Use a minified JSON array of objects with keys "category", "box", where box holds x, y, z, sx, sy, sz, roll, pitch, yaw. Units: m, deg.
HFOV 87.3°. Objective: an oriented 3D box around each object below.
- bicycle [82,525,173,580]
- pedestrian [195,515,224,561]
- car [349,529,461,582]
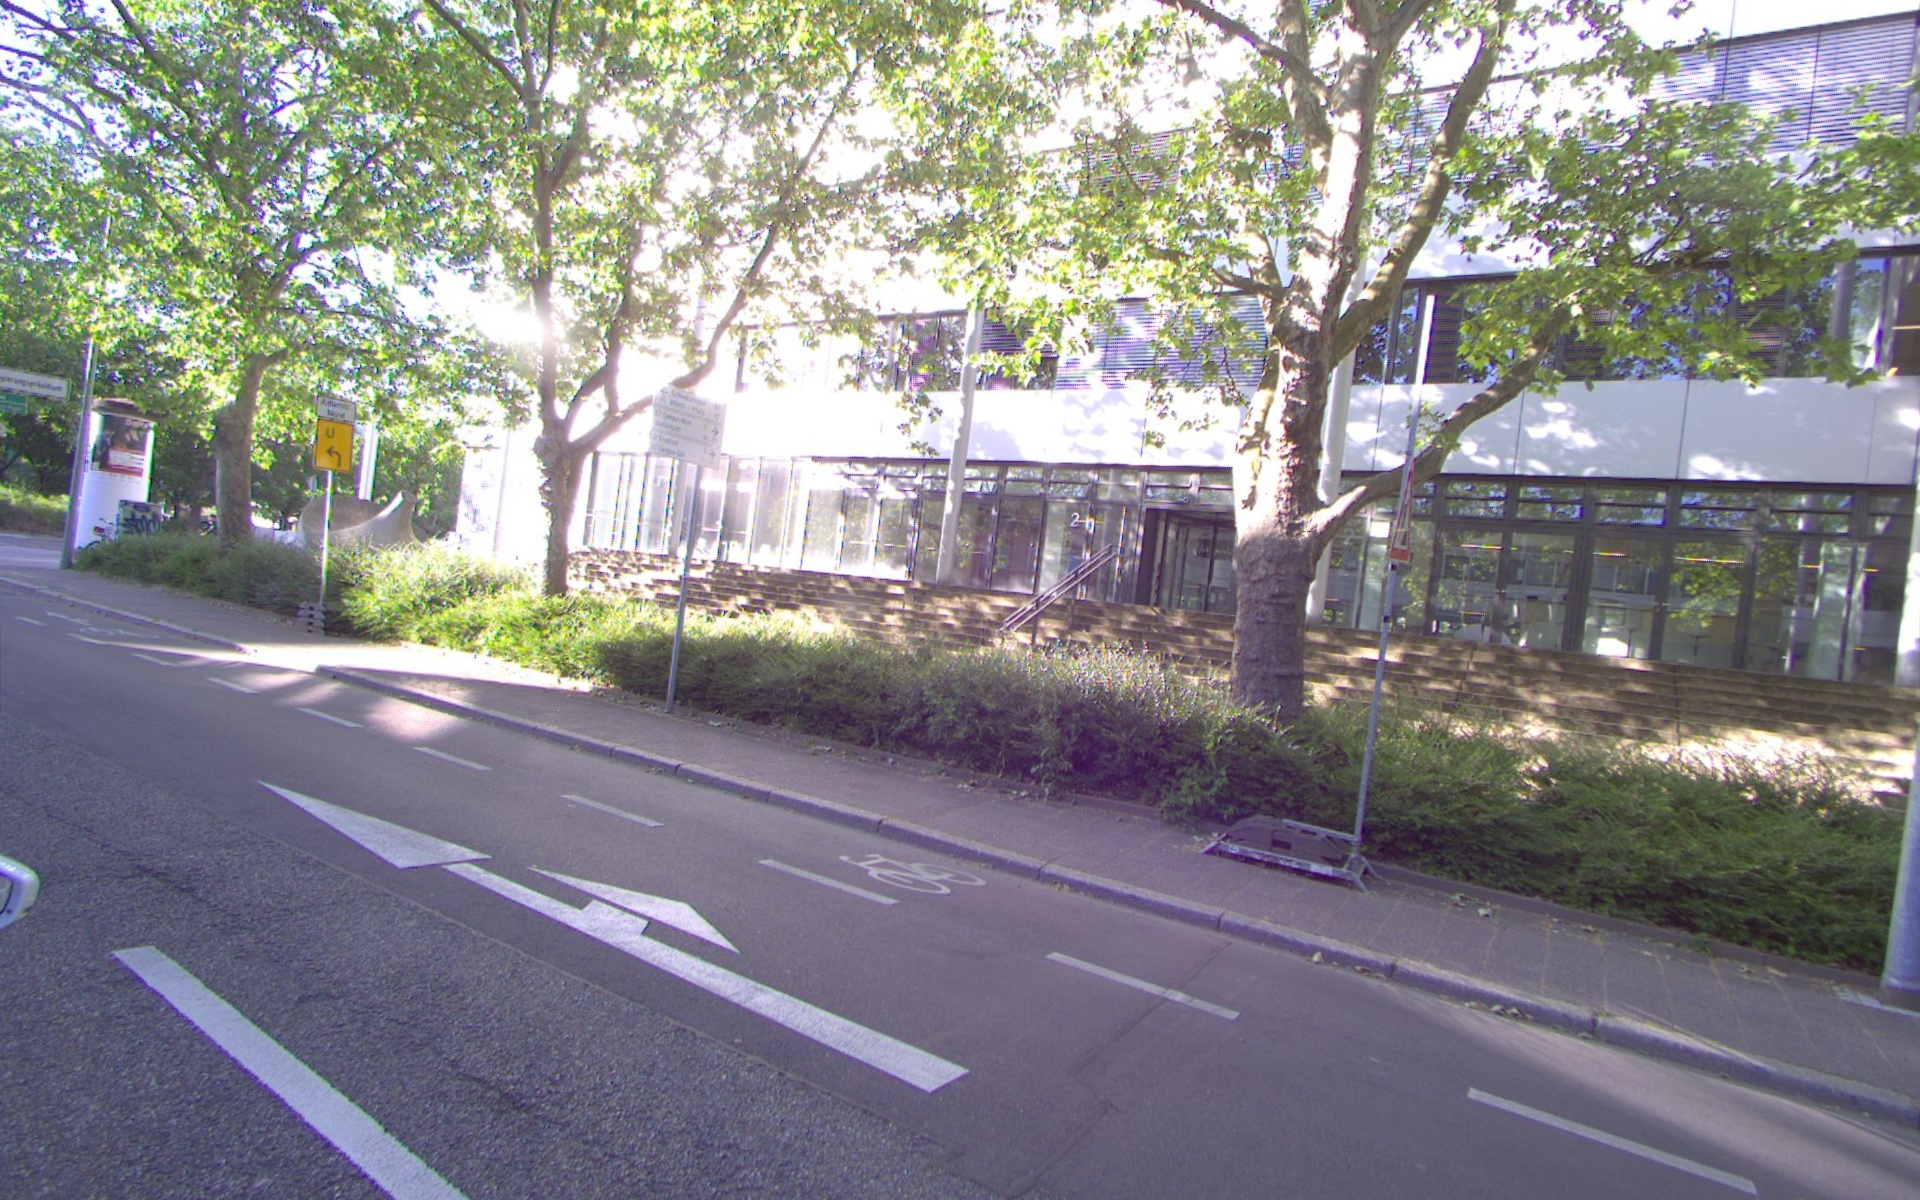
[{"category":"bicycle","box":[-19.085,-1.087,23.092,0.529,1.049,1.418,7,-1,28]},{"category":"pedestrian","box":[-31.318,-2.580,41.971,0.620,1.805,0.620,7,0,34]},{"category":"car","box":[-25.892,-2.046,47.010,1.969,1.805,3.998,7,-1,37]}]
